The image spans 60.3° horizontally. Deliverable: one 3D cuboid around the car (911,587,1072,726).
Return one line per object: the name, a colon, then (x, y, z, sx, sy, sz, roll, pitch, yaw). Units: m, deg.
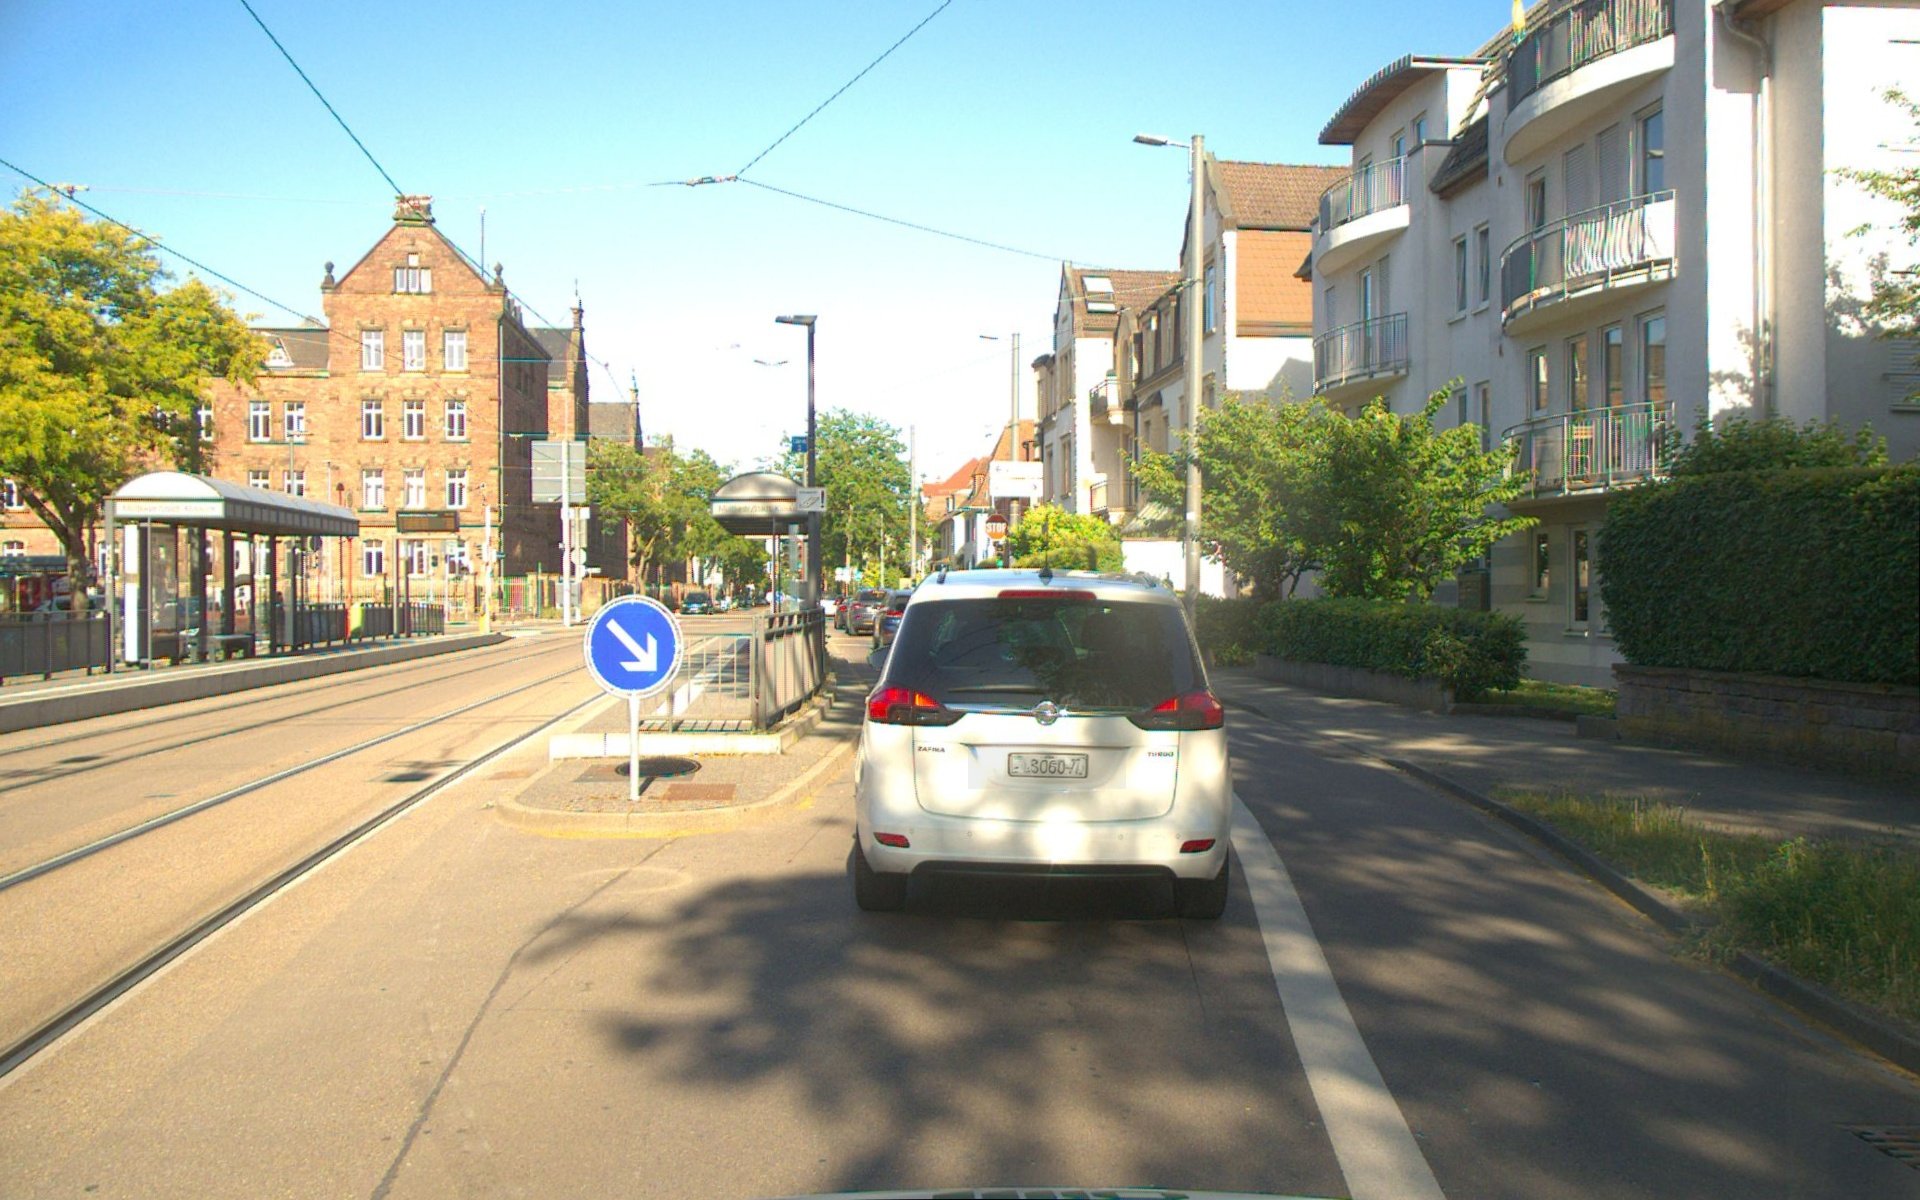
car: (0.274, 0.577, 19.391, 1.555, 1.445, 3.897, -1, 0, -4)

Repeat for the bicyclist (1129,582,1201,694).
bicyclist: (2.848, 0.523, 23.083, 0.805, 1.528, 0.933, 0, 0, -6)

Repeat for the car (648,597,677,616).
car: (-26.080, 0.597, 145.083, 1.954, 1.624, 3.997, 0, 0, -3)

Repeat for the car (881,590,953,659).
car: (-1.116, 0.601, 42.117, 1.740, 1.660, 3.879, 0, 0, -2)

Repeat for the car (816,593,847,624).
car: (-7.297, 0.458, 94.137, 1.741, 1.722, 3.877, 0, 0, -4)

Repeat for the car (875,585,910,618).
car: (-3.600, 0.086, 87.897, 1.741, 1.660, 3.877, 0, 0, -4)

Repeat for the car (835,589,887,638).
car: (-3.485, 0.476, 58.142, 1.741, 1.660, 3.878, 0, 0, -4)

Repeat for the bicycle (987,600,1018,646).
bicycle: (1.102, 0.600, 43.218, 0.672, 1.177, 1.618, 0, 0, -3)

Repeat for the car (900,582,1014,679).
car: (-0.121, 0.539, 30.405, 1.741, 1.660, 3.876, 0, 0, -6)

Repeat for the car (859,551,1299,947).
car: (0.401, 0.639, 9.012, 1.799, 1.670, 3.914, 0, 0, -5)

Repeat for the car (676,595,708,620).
car: (-18.634, 0.483, 115.198, 1.869, 1.706, 4.353, 0, 0, -6)

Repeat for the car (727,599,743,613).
car: (-27.875, 0.739, 204.587, 1.870, 1.706, 3.994, 0, 0, -7)

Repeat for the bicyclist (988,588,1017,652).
bicyclist: (1.100, 0.517, 43.272, 0.672, 1.663, 1.015, 0, 0, -3)

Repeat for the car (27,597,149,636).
car: (-35.796, 0.668, 67.965, 3.984, 1.548, 1.876, 0, 0, -4)

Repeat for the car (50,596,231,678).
car: (-16.845, 0.803, 34.216, 1.819, 1.427, 3.980, -5, -2, -3)

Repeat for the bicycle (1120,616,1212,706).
bicycle: (2.849, 0.824, 23.081, 0.813, 1.175, 2.092, 0, 0, -6)
